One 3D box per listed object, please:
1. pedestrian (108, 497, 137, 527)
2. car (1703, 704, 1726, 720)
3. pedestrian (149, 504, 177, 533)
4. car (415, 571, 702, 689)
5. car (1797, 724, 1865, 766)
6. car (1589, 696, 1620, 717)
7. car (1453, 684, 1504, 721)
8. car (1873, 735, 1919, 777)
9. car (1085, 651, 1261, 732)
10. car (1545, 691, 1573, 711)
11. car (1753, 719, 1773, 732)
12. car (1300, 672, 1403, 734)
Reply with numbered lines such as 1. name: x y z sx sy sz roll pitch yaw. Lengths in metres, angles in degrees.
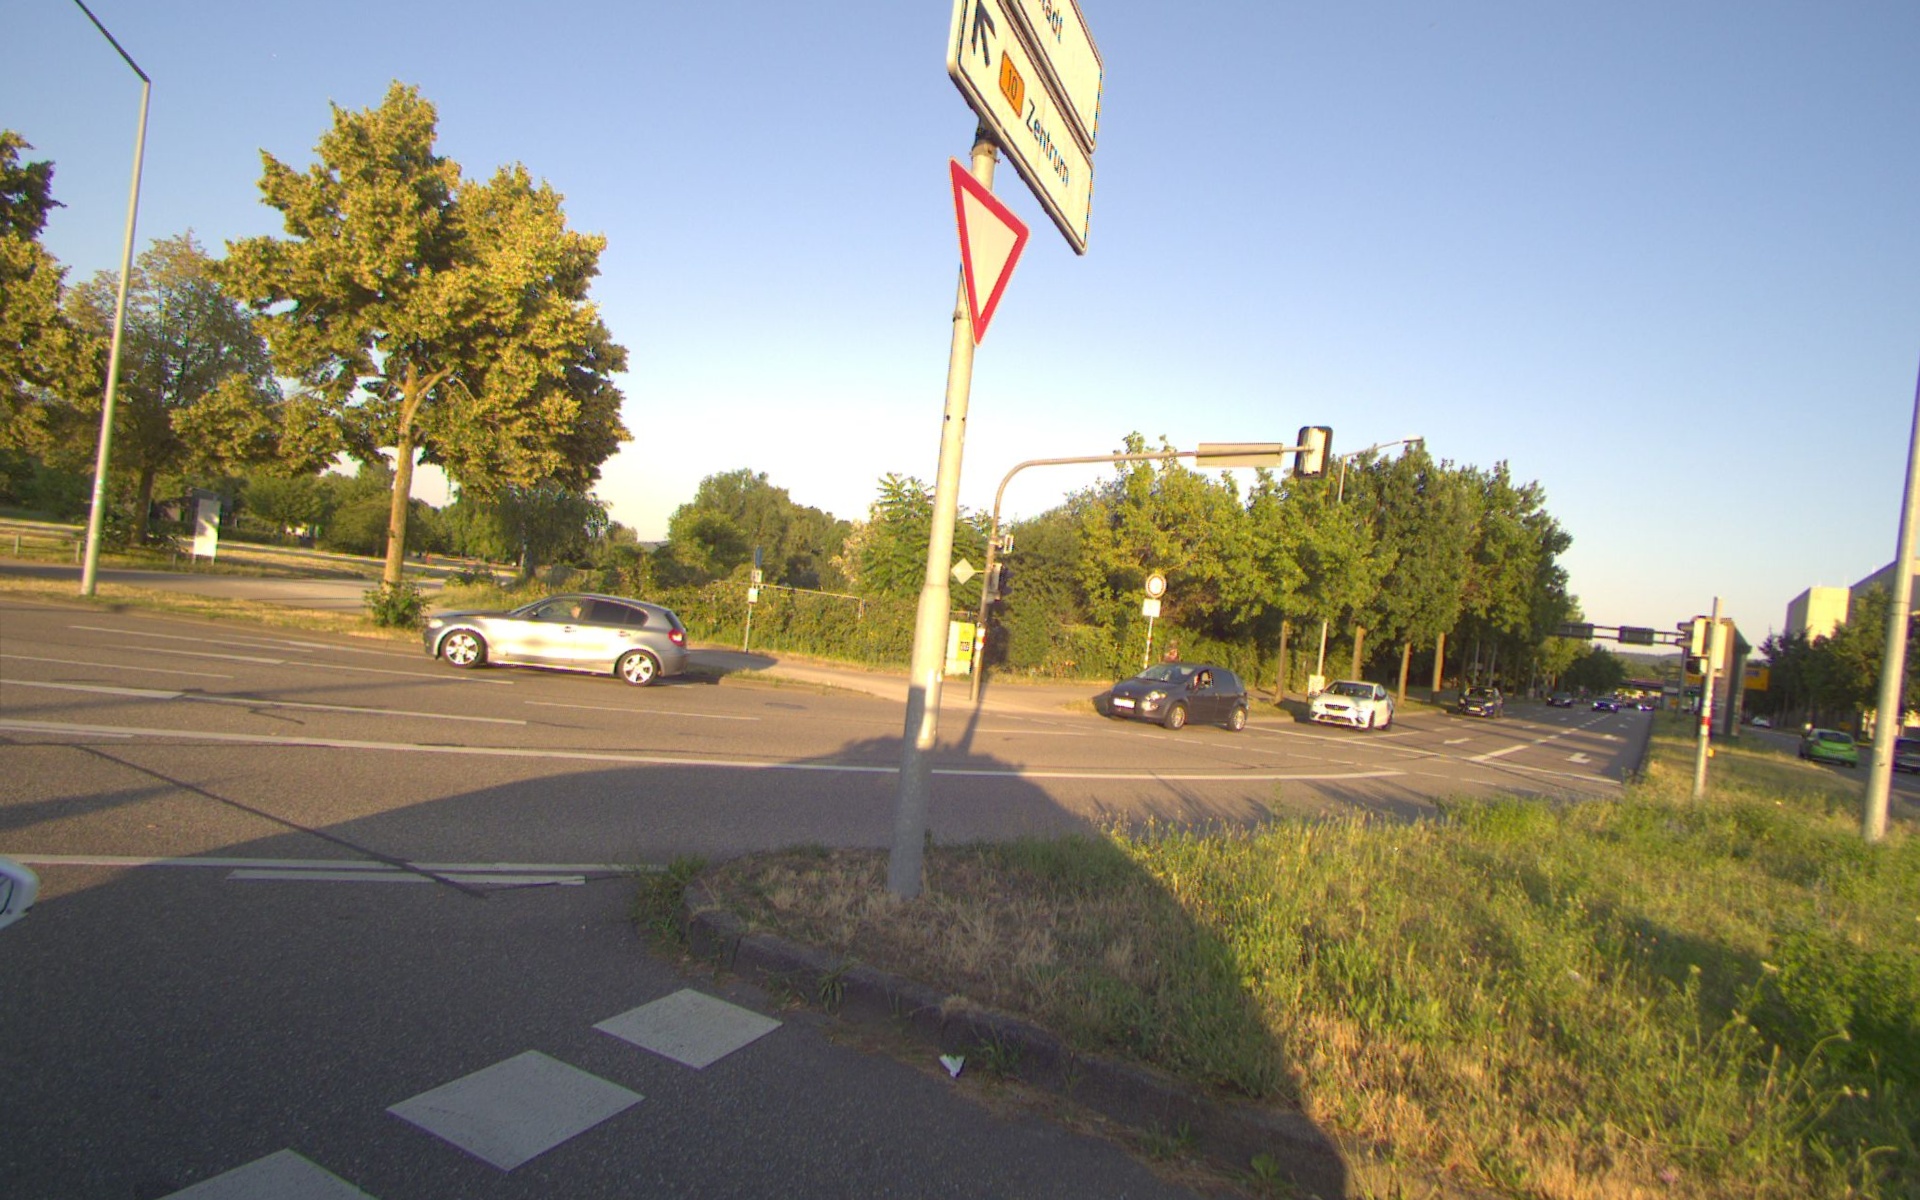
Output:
1. pedestrian: -52.299 -5.508 62.852 0.896 1.637 1.070 7 0 34
2. car: 92.644 13.701 123.546 1.968 1.648 3.990 7 -1 34
3. pedestrian: -50.491 -5.171 63.713 0.896 1.637 1.070 7 0 34
4. car: -6.511 0.498 16.762 4.101 1.406 1.861 7 -1 -18
5. car: 38.519 6.379 44.563 1.663 1.437 3.990 5 -2 34
6. car: 57.339 9.470 89.430 1.969 1.523 4.758 7 -1 35
7. car: 27.260 5.367 52.864 1.884 1.602 4.172 7 -1 32
8. car: 43.724 7.232 46.500 1.707 1.596 4.316 7 -1 37
9. car: 4.847 2.091 22.530 1.844 1.470 4.140 3 -3 44
10. car: 54.627 9.169 91.689 1.967 1.523 4.611 7 -1 33
11. car: 109.297 17.120 136.957 1.970 1.444 4.183 7 -1 38
12. car: 11.818 3.087 30.210 1.839 1.471 3.960 7 -1 36
